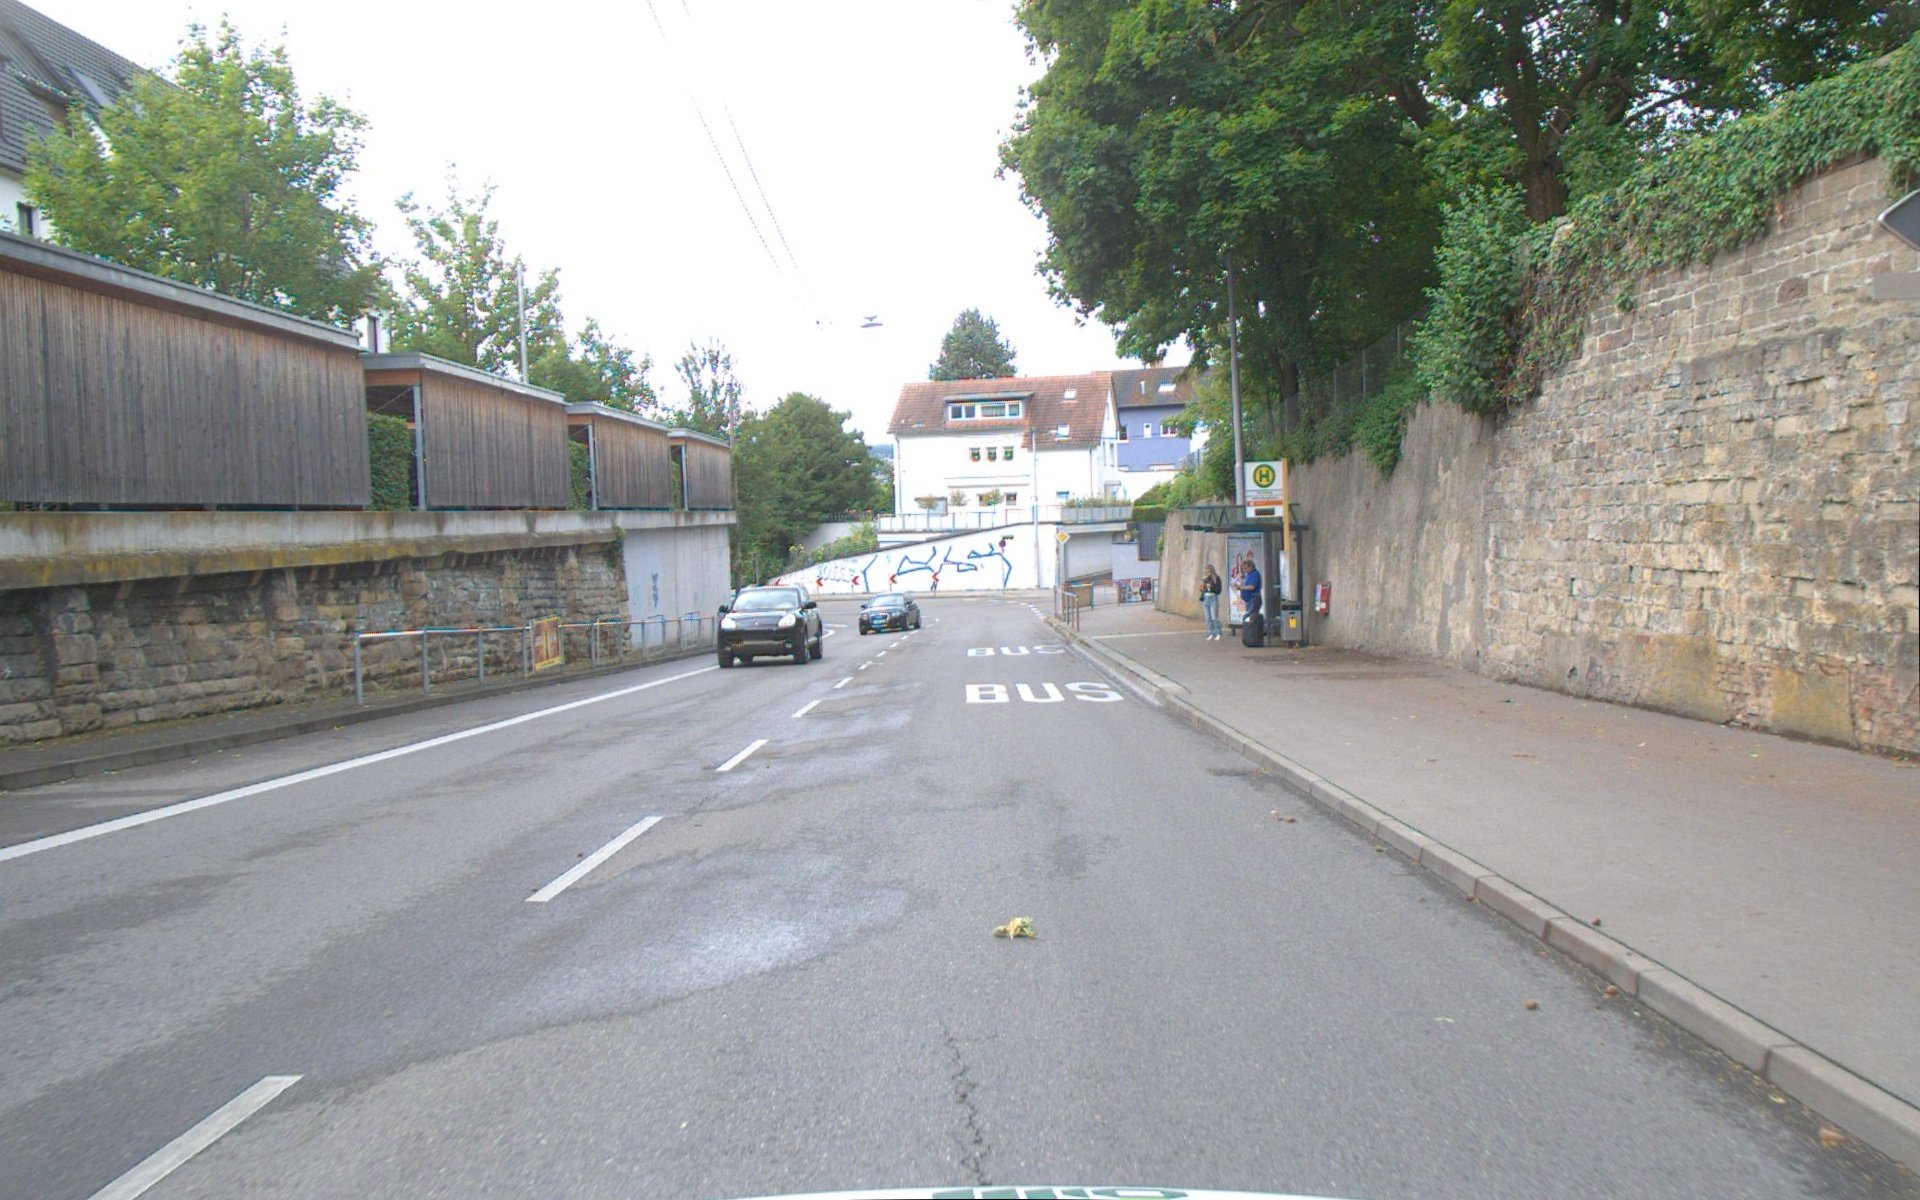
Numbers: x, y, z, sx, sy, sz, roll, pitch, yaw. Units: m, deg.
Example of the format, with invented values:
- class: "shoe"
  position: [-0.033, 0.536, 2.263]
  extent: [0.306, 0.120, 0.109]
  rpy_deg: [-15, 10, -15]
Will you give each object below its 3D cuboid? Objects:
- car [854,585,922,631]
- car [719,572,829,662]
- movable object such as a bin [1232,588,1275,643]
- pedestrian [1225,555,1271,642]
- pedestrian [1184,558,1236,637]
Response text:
- class: "car"
  position: [-2.597, 0.271, 60.563]
  extent: [1.698, 1.559, 4.004]
  rpy_deg: [-2, 0, 9]
- class: "car"
  position: [-4.043, 0.347, 36.679]
  extent: [1.855, 1.787, 4.437]
  rpy_deg: [-2, 0, 0]
- class: "movable object such as a bin"
  position: [5.695, 0.297, 32.162]
  extent: [0.661, 1.038, 0.626]
  rpy_deg: [-2, 1, -5]
- class: "pedestrian"
  position: [5.723, -0.033, 32.859]
  extent: [0.707, 1.671, 0.630]
  rpy_deg: [-2, 0, -4]
- class: "pedestrian"
  position: [5.314, -0.058, 35.200]
  extent: [0.724, 1.615, 0.769]
  rpy_deg: [-2, 2, 42]
